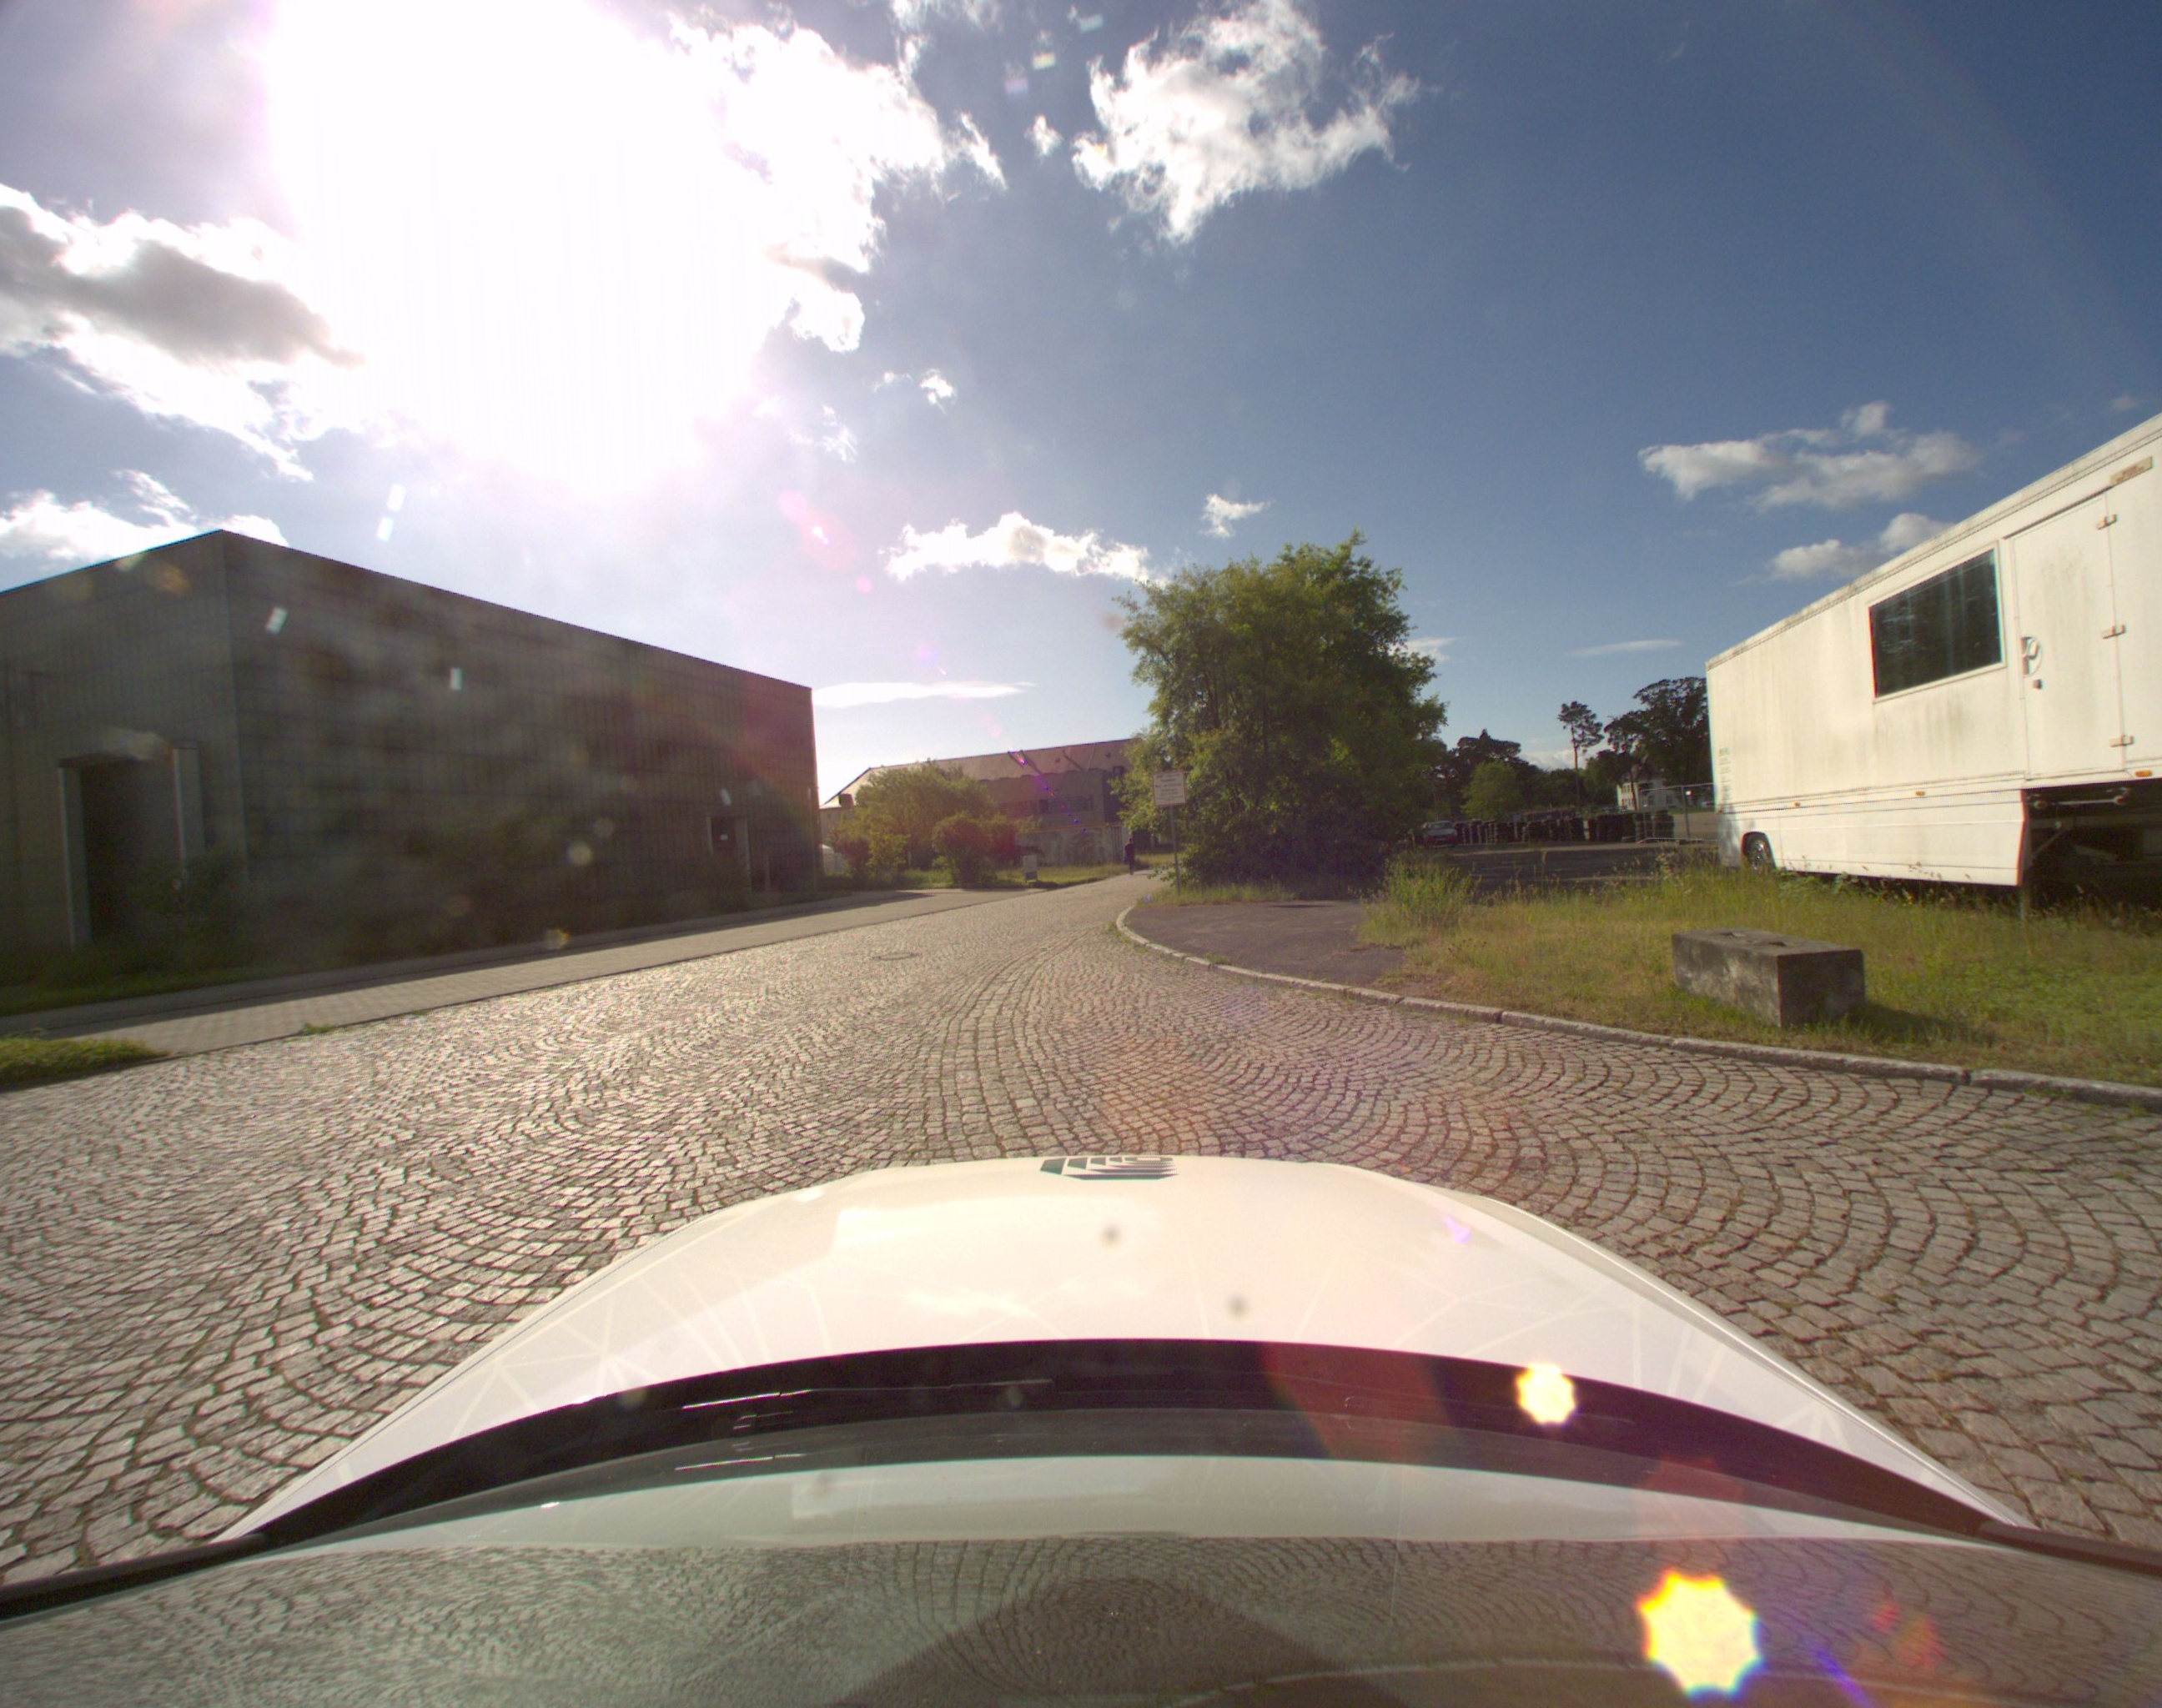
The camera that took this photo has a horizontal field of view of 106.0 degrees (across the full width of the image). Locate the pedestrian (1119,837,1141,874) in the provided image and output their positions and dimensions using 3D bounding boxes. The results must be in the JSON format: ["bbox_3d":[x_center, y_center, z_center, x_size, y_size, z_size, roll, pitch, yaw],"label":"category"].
[{"bbox_3d":[2.432,0.062,40.226,0.789,1.780,1.073,-3,0,16],"label":"pedestrian"}]

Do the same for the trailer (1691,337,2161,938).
[{"bbox_3d":[9.397,-1.556,7.560,2.749,3.910,10.943,-4,0,20],"label":"trailer"}]

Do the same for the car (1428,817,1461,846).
[{"bbox_3d":[19.880,-1.231,44.584,1.527,1.406,3.598,-4,0,24],"label":"car"}]
